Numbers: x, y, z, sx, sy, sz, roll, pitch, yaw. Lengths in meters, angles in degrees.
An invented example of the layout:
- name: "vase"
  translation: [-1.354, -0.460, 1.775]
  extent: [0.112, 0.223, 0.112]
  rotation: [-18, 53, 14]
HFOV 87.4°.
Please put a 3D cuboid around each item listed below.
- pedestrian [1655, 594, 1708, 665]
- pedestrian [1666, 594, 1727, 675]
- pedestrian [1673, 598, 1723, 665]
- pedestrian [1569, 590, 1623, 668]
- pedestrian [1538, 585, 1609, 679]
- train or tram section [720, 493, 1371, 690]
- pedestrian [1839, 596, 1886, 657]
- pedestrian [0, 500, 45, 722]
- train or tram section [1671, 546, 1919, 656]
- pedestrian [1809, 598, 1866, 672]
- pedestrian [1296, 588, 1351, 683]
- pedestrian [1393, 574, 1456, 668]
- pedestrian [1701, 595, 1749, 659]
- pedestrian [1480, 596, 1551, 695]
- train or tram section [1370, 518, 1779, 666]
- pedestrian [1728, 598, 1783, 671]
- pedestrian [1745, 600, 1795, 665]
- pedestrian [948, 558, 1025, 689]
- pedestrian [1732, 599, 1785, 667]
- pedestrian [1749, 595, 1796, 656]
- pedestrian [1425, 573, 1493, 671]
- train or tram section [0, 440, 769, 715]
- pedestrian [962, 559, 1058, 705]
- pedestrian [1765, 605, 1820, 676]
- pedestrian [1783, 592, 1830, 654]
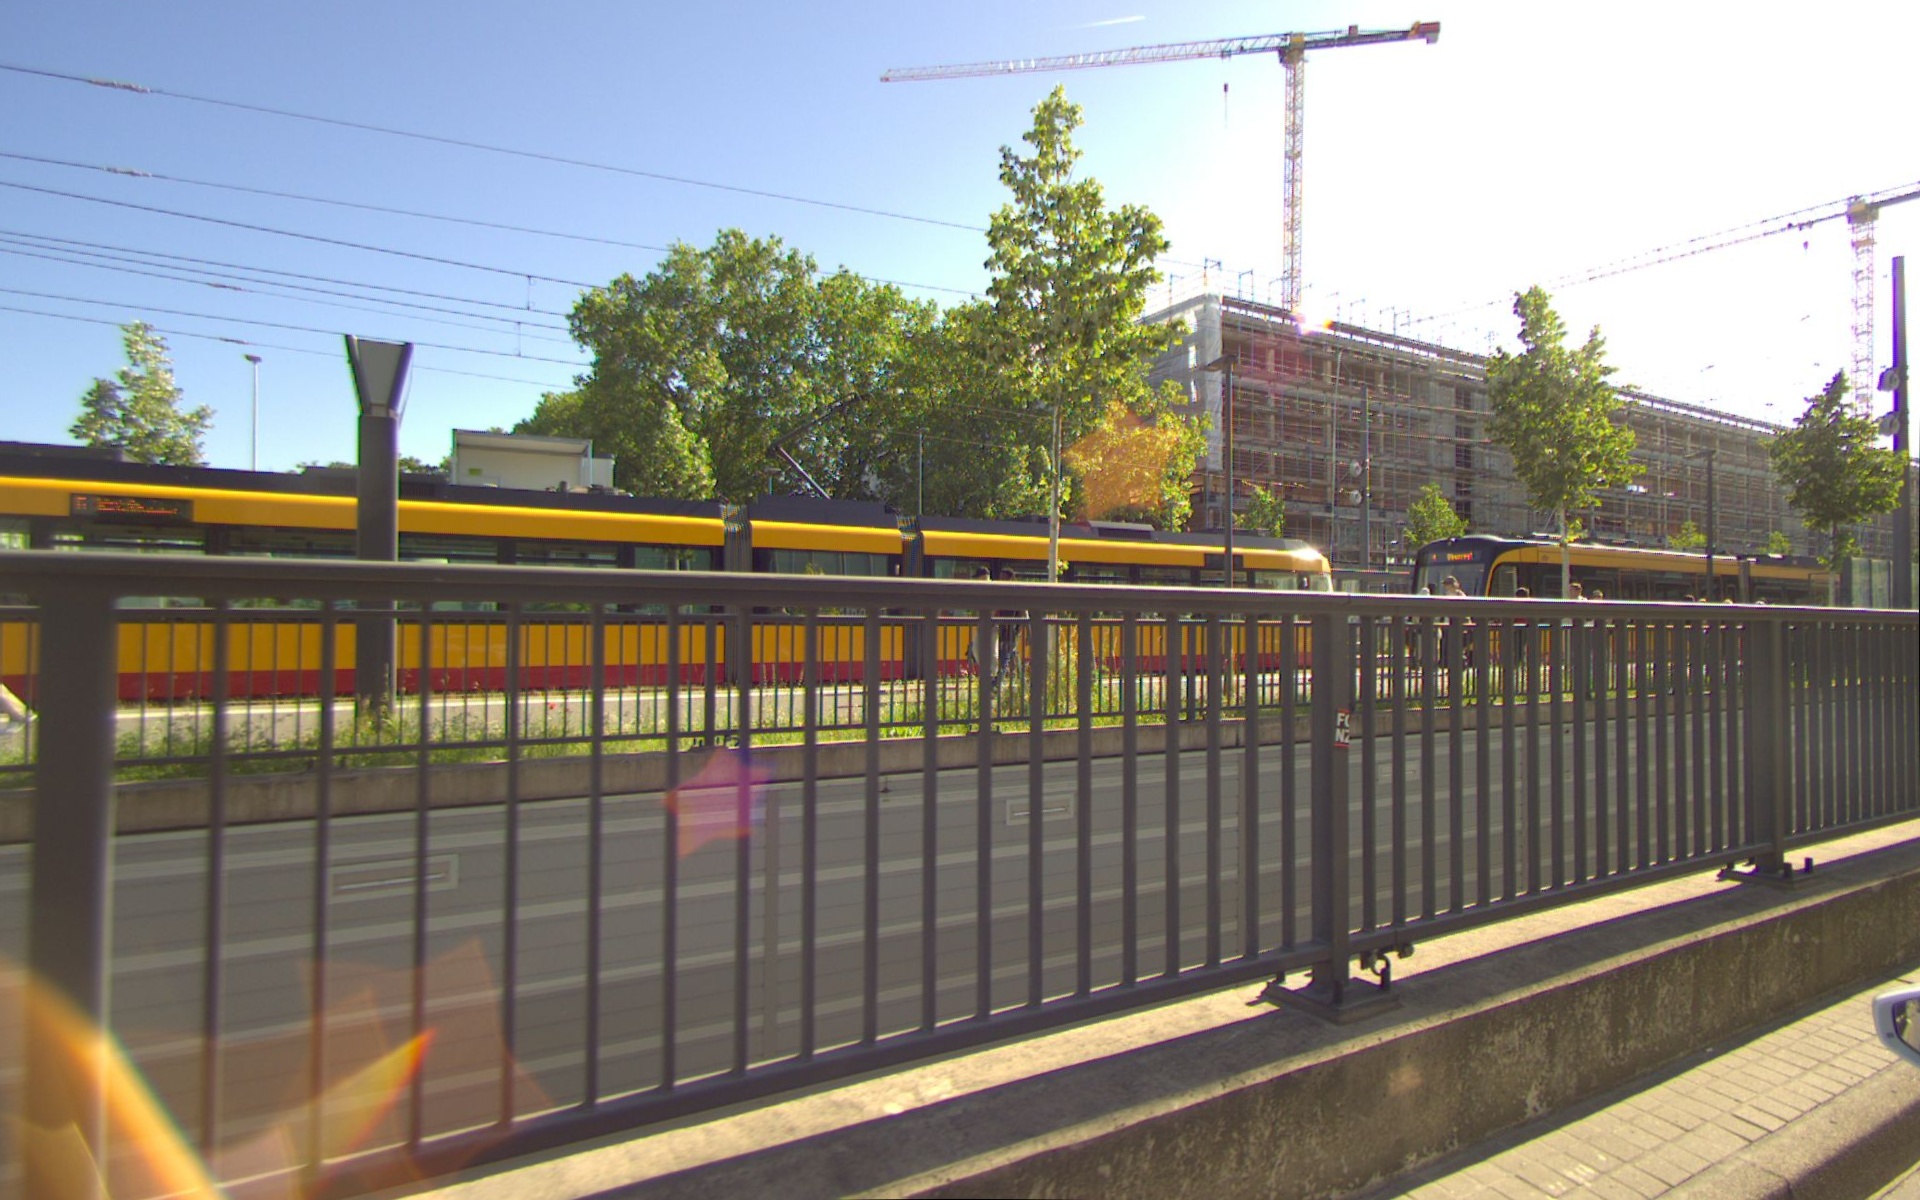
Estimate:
- name: "pedestrian"
  translation: [17.265, 0.704, 24.029]
  extent: [0.851, 1.650, 0.738]
  rotation: [1, -1, -29]
- name: "pedestrian"
  translation: [15.341, 0.717, 20.937]
  extent: [0.851, 1.650, 0.738]
  rotation: [1, -1, -29]
- name: "pedestrian"
  translation: [18.634, 0.797, 25.373]
  extent: [0.851, 1.650, 0.738]
  rotation: [1, -1, -29]
- name: "pedestrian"
  translation: [14.344, 0.643, 22.658]
  extent: [0.851, 1.717, 0.738]
  rotation: [1, -1, -29]
- name: "pedestrian"
  translation: [12.576, 0.649, 20.594]
  extent: [0.995, 1.875, 0.883]
  rotation: [1, -1, -30]
- name: "train or tram section"
  translation: [2.808, -0.021, 22.457]
  extent: [15.779, 3.366, 2.834]
  rotation: [1, 0, -31]
- name: "pedestrian"
  translation: [25.004, 0.727, 27.843]
  extent: [0.851, 1.650, 0.738]
  rotation: [1, -1, -29]
- name: "pedestrian"
  translation: [-8.397, 0.082, 8.232]
  extent: [1.176, 1.799, 0.869]
  rotation: [0, 1, -33]
- name: "train or tram section"
  translation: [33.348, 0.148, 37.066]
  extent: [21.883, 3.323, 2.856]
  rotation: [1, 1, -31]
- name: "pedestrian"
  translation: [20.093, 0.794, 23.013]
  extent: [0.851, 1.650, 0.738]
  rotation: [1, -1, -29]
- name: "pedestrian"
  translation: [6.078, 0.576, 16.803]
  extent: [0.582, 1.533, 0.643]
  rotation: [0, 1, -33]
- name: "pedestrian"
  translation: [9.300, 0.428, 20.105]
  extent: [1.062, 1.834, 0.668]
  rotation: [1, -1, -31]
- name: "pedestrian"
  translation: [20.228, 0.716, 26.572]
  extent: [0.851, 1.650, 0.738]
  rotation: [1, -1, -29]
- name: "pedestrian"
  translation: [9.596, 0.778, 17.354]
  extent: [0.851, 1.650, 0.738]
  rotation: [1, -1, -29]
- name: "train or tram section"
  translation: [17.427, -0.113, 27.620]
  extent: [15.007, 3.323, 2.856]
  rotation: [1, 1, -31]
- name: "pedestrian"
  translation: [18.487, 0.792, 23.338]
  extent: [0.851, 1.650, 0.738]
  rotation: [1, -1, -29]
- name: "pedestrian"
  translation: [20.887, 0.825, 25.899]
  extent: [0.851, 1.650, 0.738]
  rotation: [1, -1, -29]
- name: "pedestrian"
  translation: [0.371, 0.315, 14.315]
  extent: [0.817, 1.799, 0.757]
  rotation: [0, 1, -33]
- name: "pedestrian"
  translation: [19.806, 0.803, 24.924]
  extent: [0.935, 1.650, 0.738]
  rotation: [1, -1, -29]
- name: "pedestrian"
  translation: [22.491, 0.712, 27.813]
  extent: [0.851, 1.650, 0.738]
  rotation: [1, -1, -29]
- name: "pedestrian"
  translation: [9.654, 0.424, 19.435]
  extent: [1.019, 1.834, 0.766]
  rotation: [1, -1, -31]
- name: "train or tram section"
  translation: [-9.557, -0.253, 15.150]
  extent: [12.919, 3.354, 2.856]
  rotation: [1, 1, -31]
- name: "pedestrian"
  translation: [0.642, 0.393, 12.989]
  extent: [0.968, 1.799, 0.786]
  rotation: [0, 1, -33]
- name: "pedestrian"
  translation: [19.617, 0.945, 23.668]
  extent: [0.851, 1.650, 0.738]
  rotation: [1, -1, -29]
- name: "pedestrian"
  translation: [22.850, 0.620, 27.118]
  extent: [0.851, 1.650, 0.738]
  rotation: [1, -1, -29]
